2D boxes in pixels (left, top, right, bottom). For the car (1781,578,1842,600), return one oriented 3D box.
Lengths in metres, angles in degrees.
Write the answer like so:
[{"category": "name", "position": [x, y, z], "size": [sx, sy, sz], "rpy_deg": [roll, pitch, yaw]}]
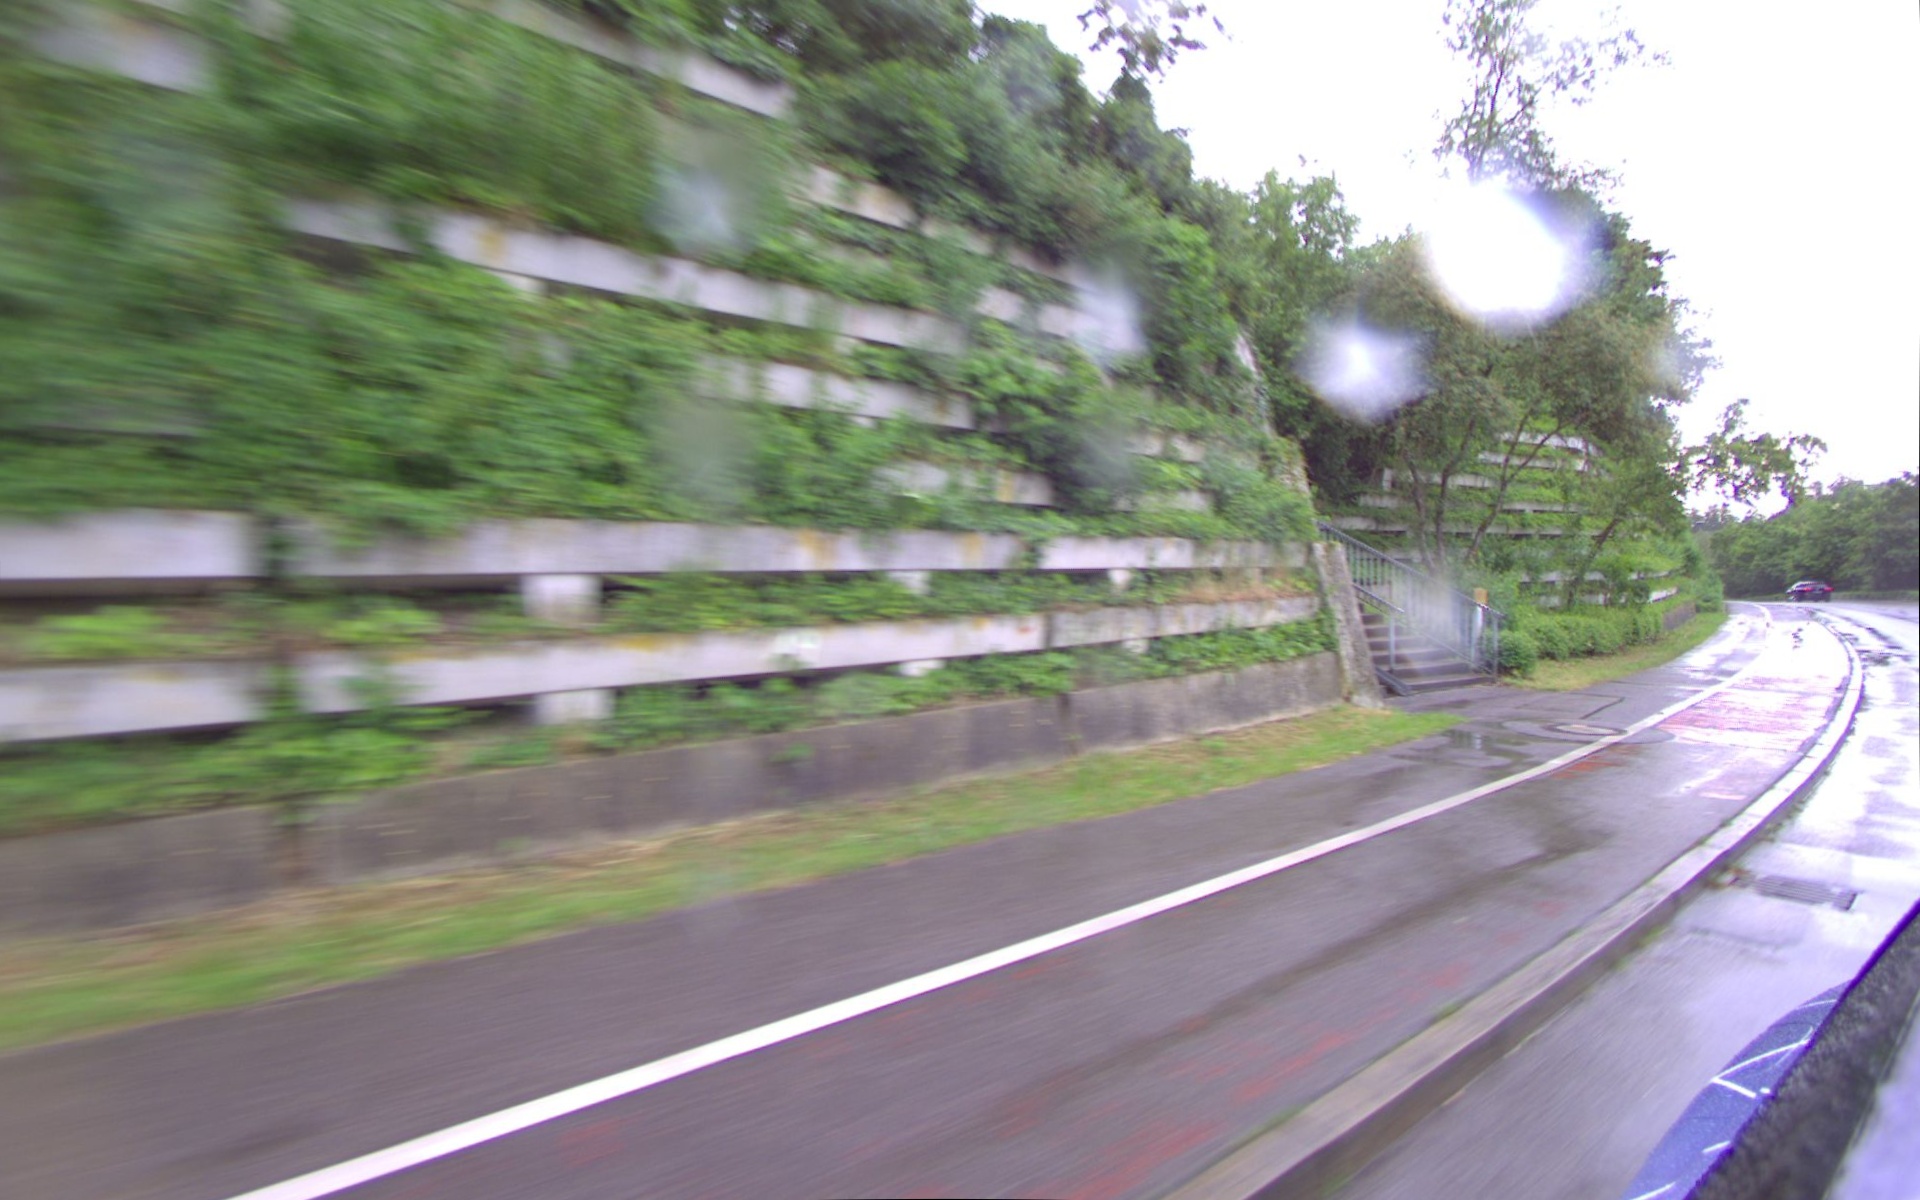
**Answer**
[{"category": "car", "position": [60.462, -0.787, 71.935], "size": [1.706, 1.480, 4.518], "rpy_deg": [-2, 1, 18]}]
